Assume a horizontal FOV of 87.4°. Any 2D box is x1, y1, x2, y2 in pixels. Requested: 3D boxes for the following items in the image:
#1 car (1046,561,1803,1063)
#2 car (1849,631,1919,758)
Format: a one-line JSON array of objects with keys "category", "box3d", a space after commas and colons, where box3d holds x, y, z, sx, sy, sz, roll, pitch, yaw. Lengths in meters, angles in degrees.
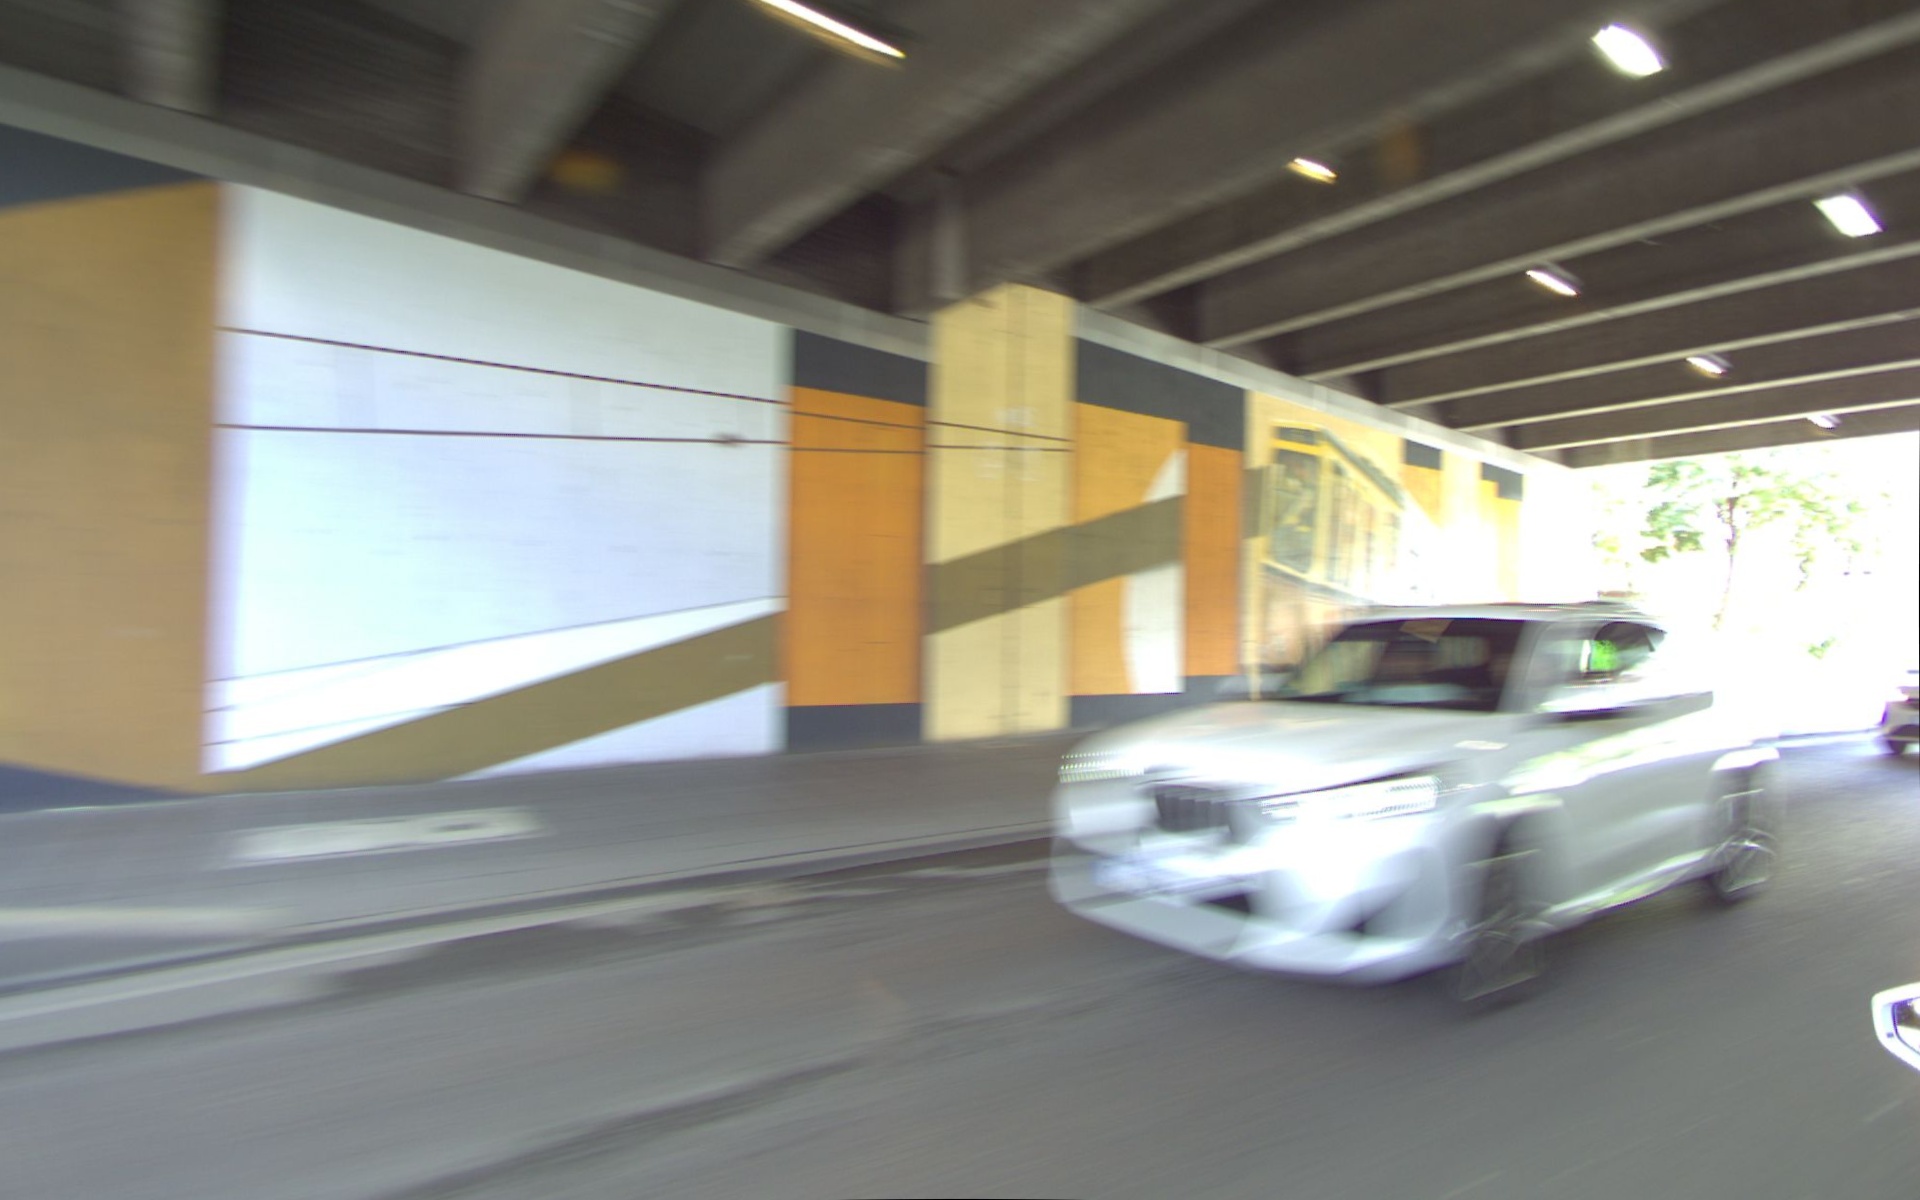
[{"category": "car", "box3d": [2.627, 0.779, 5.331, 4.172, 1.675, 1.814, 2, -2, -35]}, {"category": "car", "box3d": [12.882, 1.120, 12.309, 3.802, 1.466, 1.666, 1, -2, -26]}]
